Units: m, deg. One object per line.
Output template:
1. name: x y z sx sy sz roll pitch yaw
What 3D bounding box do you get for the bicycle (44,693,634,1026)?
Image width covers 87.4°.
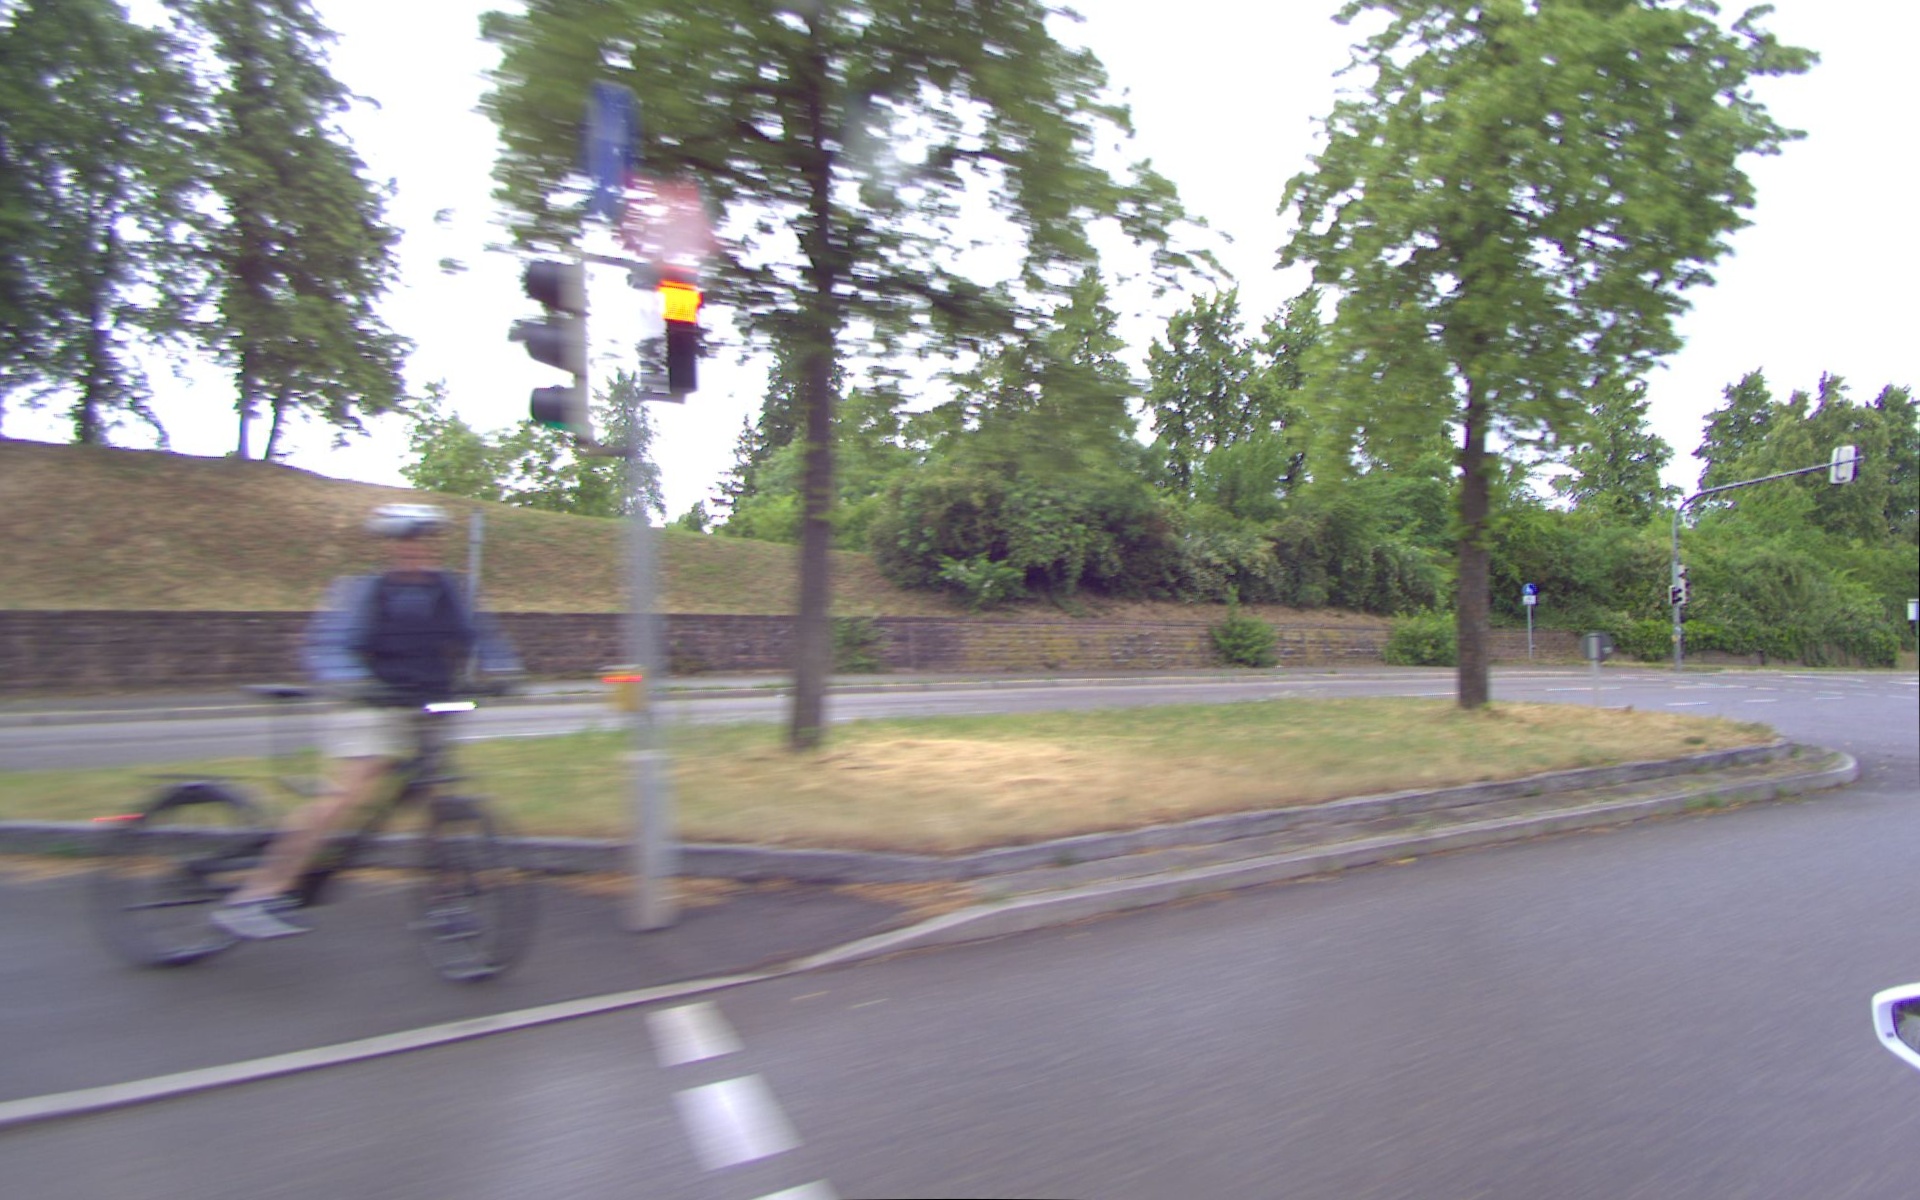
1. bicycle: -2.457 0.992 4.069 2.097 1.158 0.554 0 0 4

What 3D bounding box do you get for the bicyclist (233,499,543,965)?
1. bicyclist: -2.364 0.516 4.251 0.785 1.775 0.726 1 -3 5
